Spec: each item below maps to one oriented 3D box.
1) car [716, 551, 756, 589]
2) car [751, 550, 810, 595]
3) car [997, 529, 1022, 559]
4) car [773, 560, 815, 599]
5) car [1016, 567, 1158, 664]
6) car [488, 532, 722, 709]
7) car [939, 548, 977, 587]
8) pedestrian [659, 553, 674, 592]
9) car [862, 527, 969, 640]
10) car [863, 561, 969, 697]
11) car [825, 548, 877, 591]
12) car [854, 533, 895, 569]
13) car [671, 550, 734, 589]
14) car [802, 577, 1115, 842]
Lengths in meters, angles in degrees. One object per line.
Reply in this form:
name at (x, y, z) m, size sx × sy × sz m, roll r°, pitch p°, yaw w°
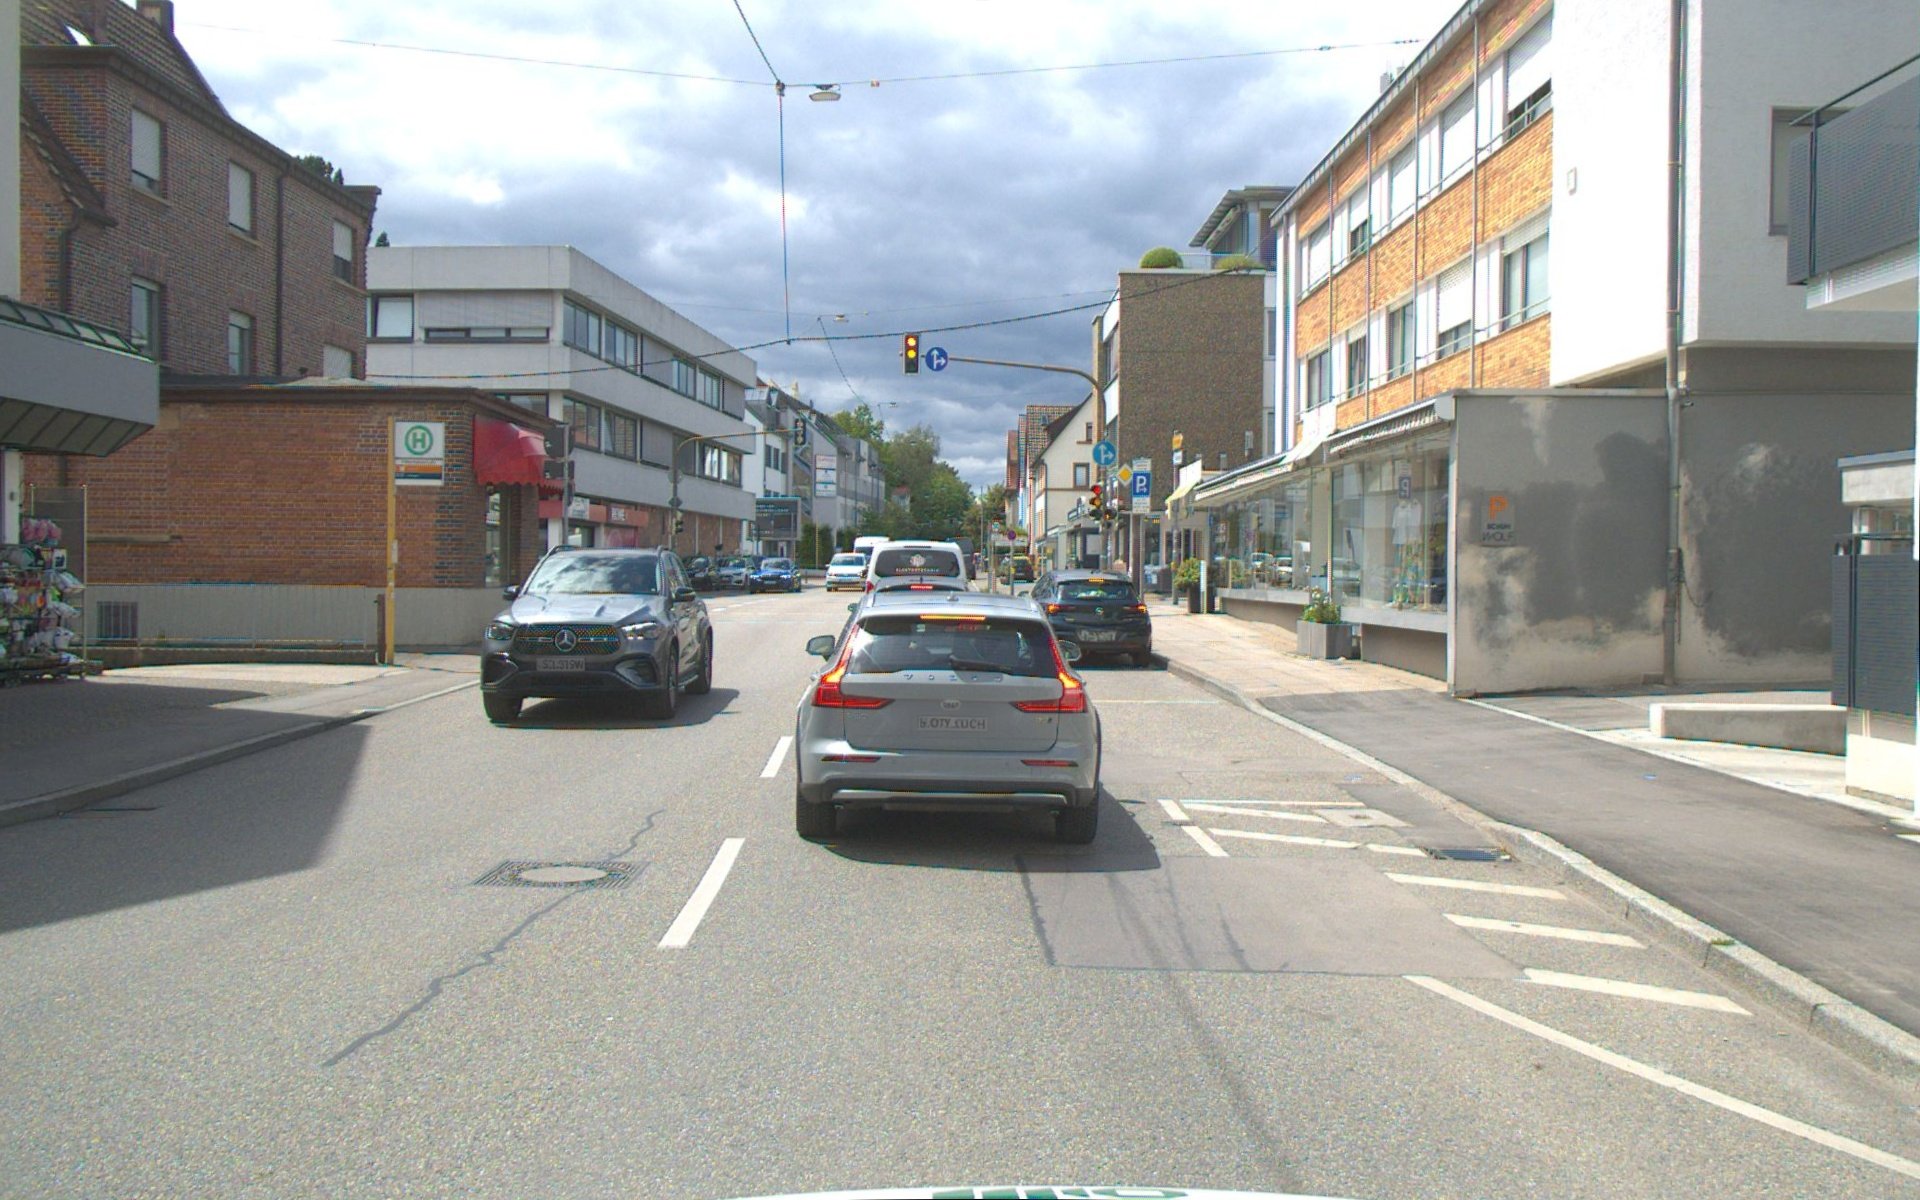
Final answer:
car at (-10.035, -1.341, 74.302) m, size 1.356 × 1.568 × 3.398 m, roll 0°, pitch -1°, yaw 0°
car at (-7.450, -1.112, 69.085) m, size 1.834 × 1.669 × 4.001 m, roll 2°, pitch -1°, yaw 2°
car at (3.704, -4.209, 124.435) m, size 1.765 × 2.049 × 3.999 m, roll 0°, pitch -1°, yaw 0°
car at (-9.470, -1.151, 94.468) m, size 1.953 × 2.049 × 3.999 m, roll 2°, pitch -1°, yaw 0°
car at (1.982, 0.198, 26.859) m, size 1.718 × 1.394 × 3.997 m, roll 1°, pitch 2°, yaw -4°
car at (-3.831, 0.197, 18.601) m, size 1.802 × 1.756 × 4.350 m, roll 0°, pitch 0°, yaw -2°
car at (-0.144, -2.139, 110.695) m, size 2.387 × 2.359 × 5.325 m, roll 2°, pitch 0°, yaw -1°
pedestrian at (-11.057, -1.045, 62.288) m, size 0.506 × 1.461 × 0.487 m, roll 0°, pitch 0°, yaw -19°
car at (-0.775, -0.260, 30.317) m, size 1.799 × 1.894 × 3.849 m, roll 1°, pitch -1°, yaw 0°
car at (-0.543, 0.308, 21.065) m, size 1.248 × 1.554 × 3.050 m, roll 0°, pitch 2°, yaw -1°
car at (-4.727, -1.308, 72.129) m, size 1.834 × 1.669 × 4.001 m, roll 2°, pitch -1°, yaw 2°
car at (-4.498, -2.571, 87.854) m, size 1.834 × 1.669 × 4.000 m, roll 0°, pitch -1°, yaw 2°
car at (-10.744, -1.241, 69.282) m, size 1.953 × 1.422 × 4.000 m, roll 2°, pitch -1°, yaw 0°
car at (-0.021, 0.617, 11.037) m, size 1.708 × 1.442 × 3.999 m, roll 0°, pitch -1°, yaw -1°
